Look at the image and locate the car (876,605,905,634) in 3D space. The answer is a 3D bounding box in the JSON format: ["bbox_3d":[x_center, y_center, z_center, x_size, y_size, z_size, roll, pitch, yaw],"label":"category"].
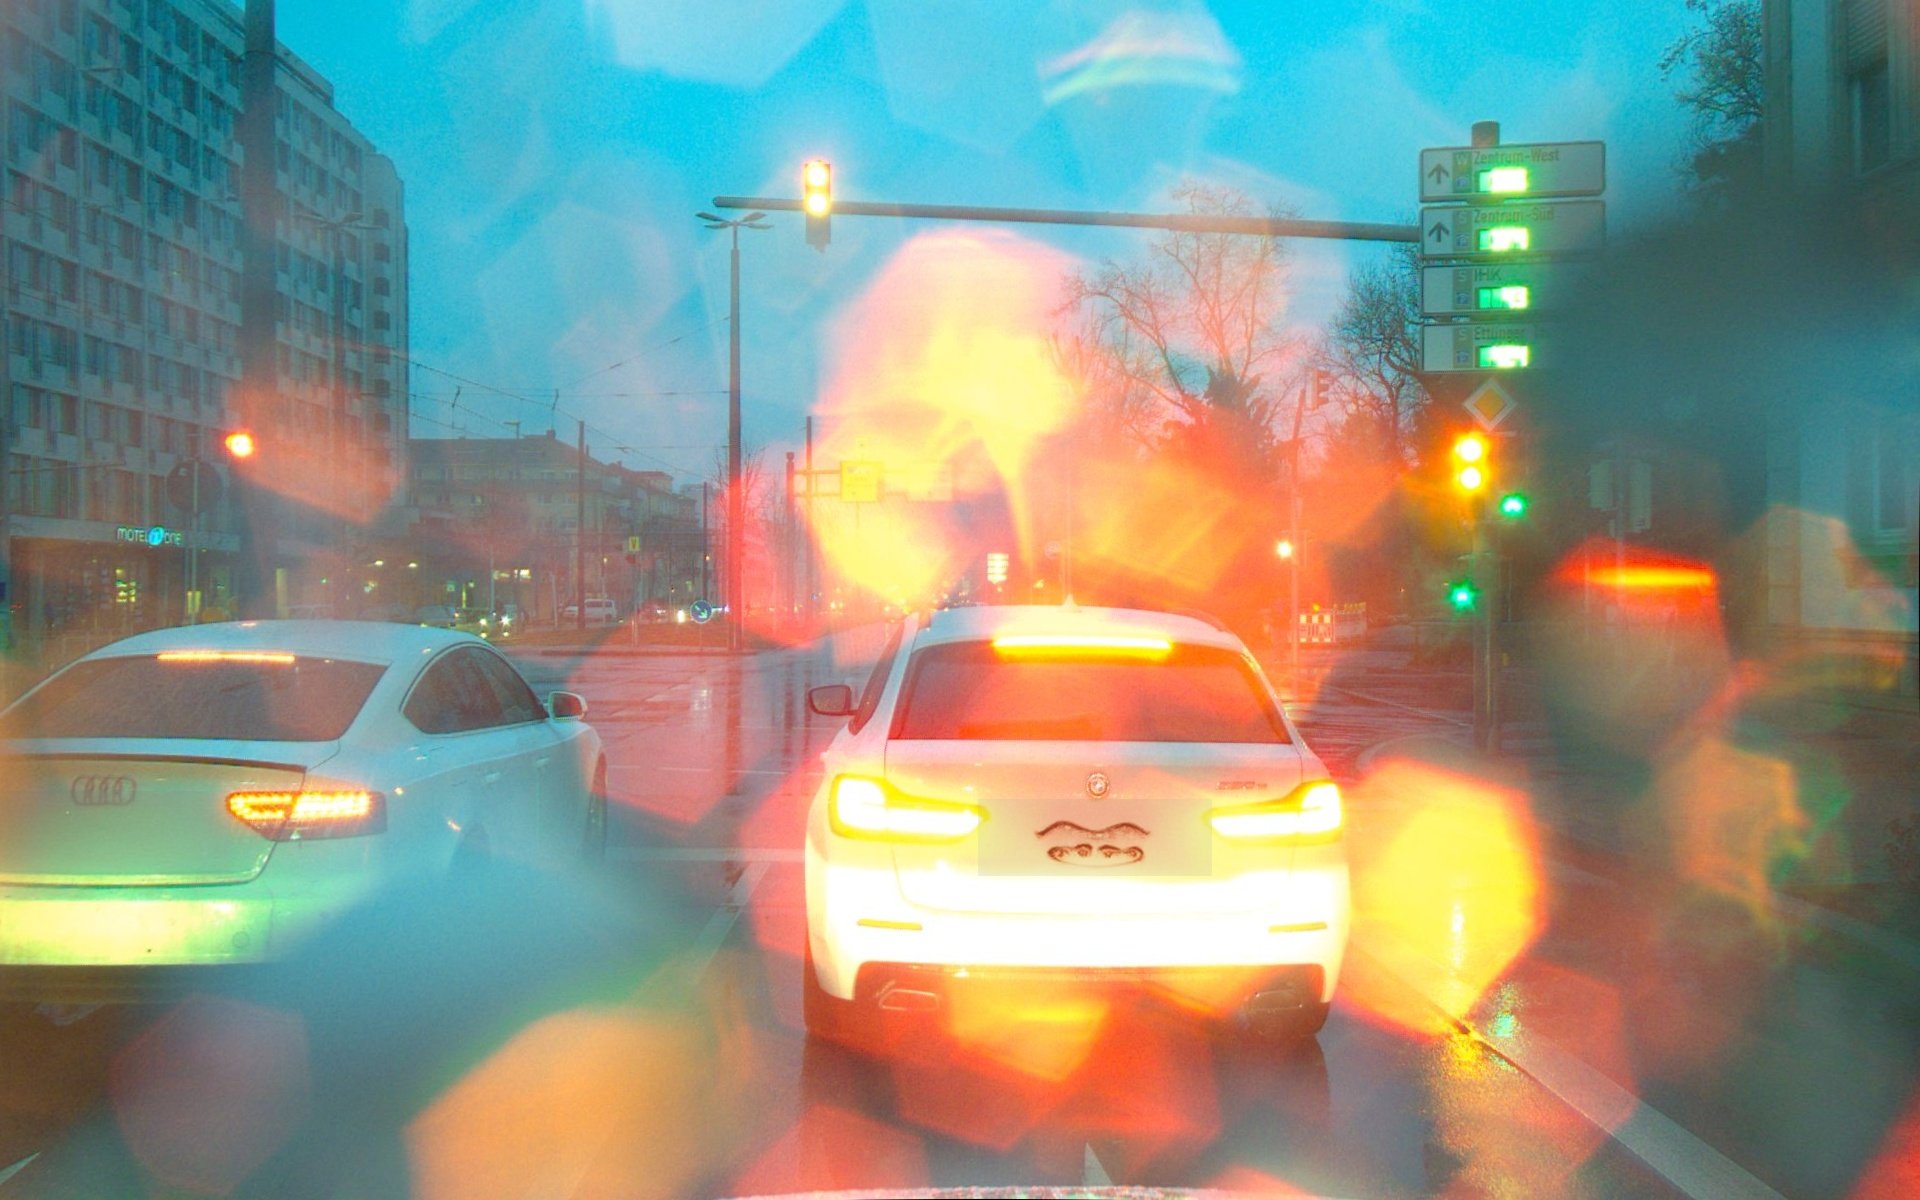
[{"bbox_3d":[-5.040,1.376,120.873,1.953,2.049,3.999,1,0,-1],"label":"car"}]

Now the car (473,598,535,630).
[{"bbox_3d":[-22.171,0.680,80.662,1.954,1.487,5.090,1,0,-5],"label":"car"}]

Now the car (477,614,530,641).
[{"bbox_3d":[-27.232,1.633,98.897,1.954,1.487,5.092,1,0,-3],"label":"car"}]

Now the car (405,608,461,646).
[{"bbox_3d":[-22.044,1.097,69.356,1.960,1.487,5.074,1,0,-15],"label":"car"}]

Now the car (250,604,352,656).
[{"bbox_3d":[-24.074,1.064,60.608,1.843,1.821,4.598,1,0,0],"label":"car"}]

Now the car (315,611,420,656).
[{"bbox_3d":[-21.035,1.148,58.929,1.953,1.487,5.094,1,0,-1],"label":"car"}]

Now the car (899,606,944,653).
[{"bbox_3d":[-1.741,1.299,75.318,1.953,2.049,3.999,1,0,-1],"label":"car"}]

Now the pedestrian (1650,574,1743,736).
[{"bbox_3d":[7.587,0.554,17.081,0.765,1.607,1.011,1,-1,19],"label":"pedestrian"}]

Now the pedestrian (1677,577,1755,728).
[{"bbox_3d":[8.585,0.579,18.789,0.766,1.661,1.010,1,-1,25],"label":"pedestrian"}]

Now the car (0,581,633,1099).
[{"bbox_3d":[-2.567,0.705,6.920,1.724,1.495,4.249,1,0,-3],"label":"car"}]

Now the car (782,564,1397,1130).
[{"bbox_3d":[0.271,0.711,6.792,1.724,1.580,4.249,1,0,-3],"label":"car"}]

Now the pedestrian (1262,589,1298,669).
[{"bbox_3d":[7.731,0.699,39.966,0.659,1.912,0.714,1,-1,-3],"label":"pedestrian"}]
